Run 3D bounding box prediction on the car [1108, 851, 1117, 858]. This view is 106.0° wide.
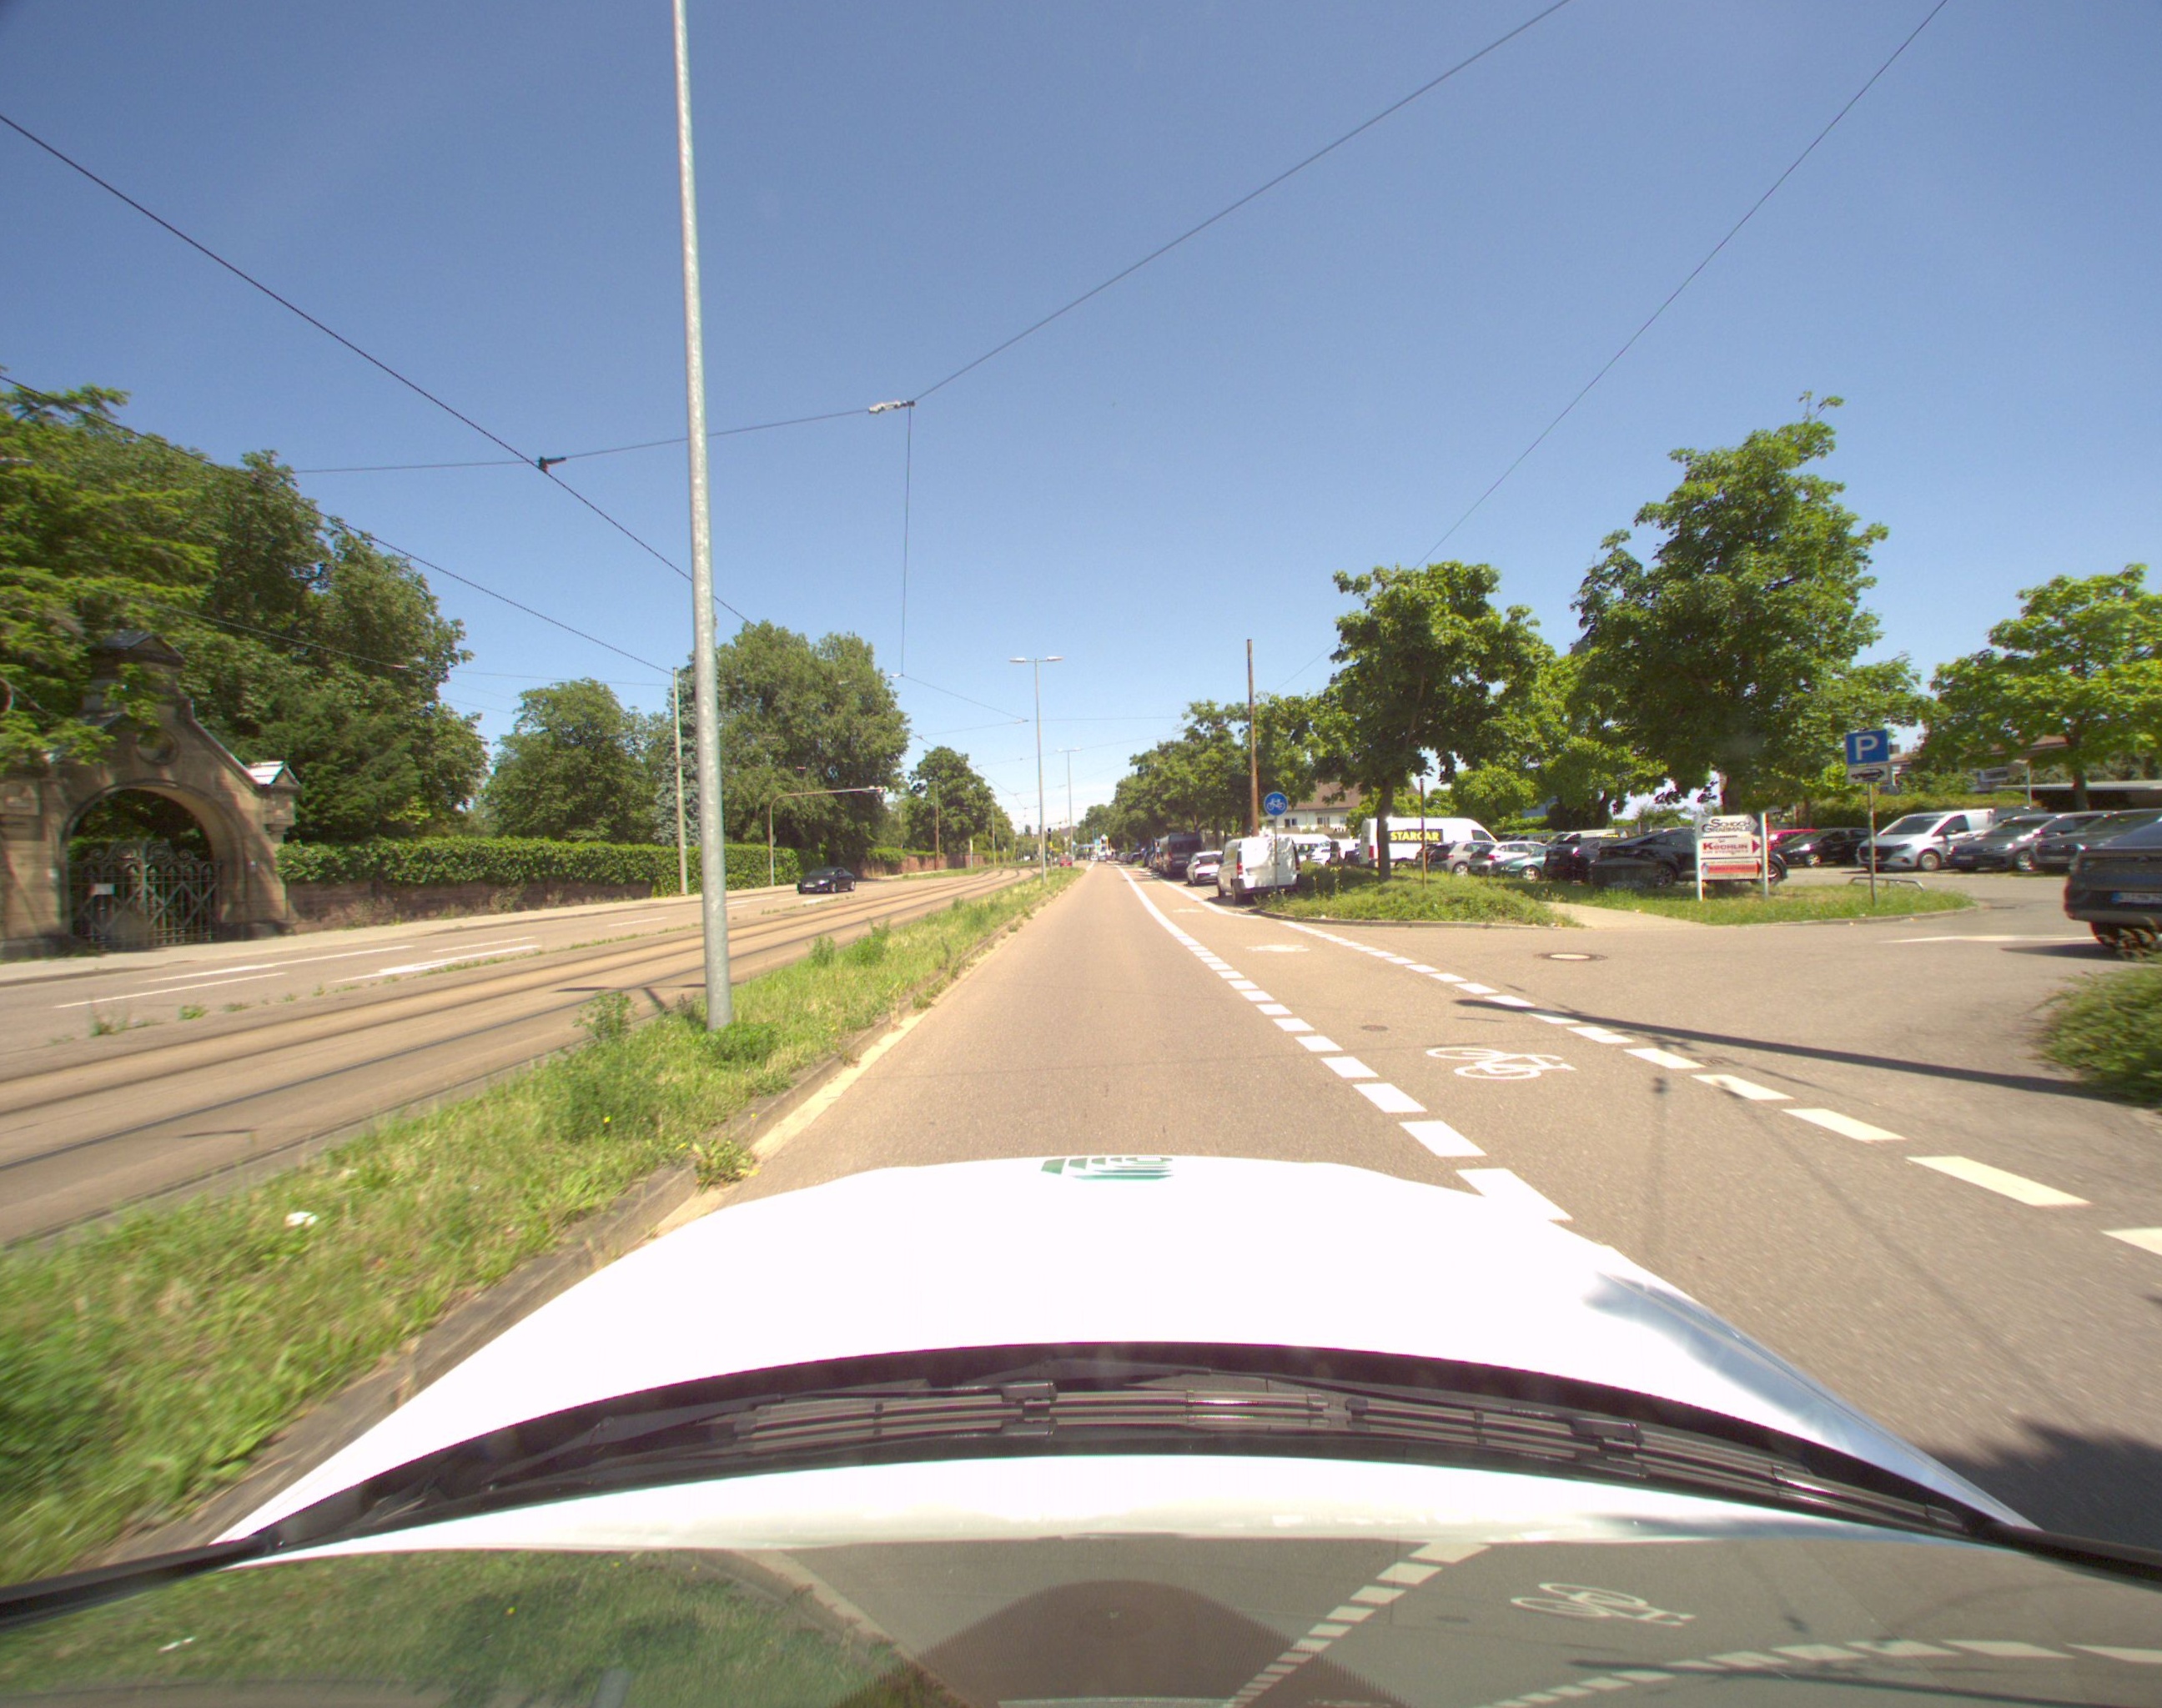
[{"bbox_3d":[8.099,0.158,209.945,1.706,1.562,4.311,-4,0,-8],"label":"car"}]

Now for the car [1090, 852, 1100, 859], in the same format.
[{"bbox_3d":[3.638,0.458,212.775,1.754,1.630,4.314,-4,0,-6],"label":"car"}]

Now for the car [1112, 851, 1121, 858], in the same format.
[{"bbox_3d":[8.739,0.140,198.756,1.703,1.492,5.033,-4,0,-3],"label":"car"}]

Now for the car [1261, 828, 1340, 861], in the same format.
[{"bbox_3d":[16.697,-0.685,62.091,5.469,2.459,2.096,0,0,1],"label":"car"}]

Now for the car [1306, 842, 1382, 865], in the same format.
[{"bbox_3d":[16.438,-0.043,51.008,4.264,1.406,1.727,0,0,-2],"label":"car"}]

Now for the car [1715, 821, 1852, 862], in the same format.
[{"bbox_3d":[29.679,-0.527,34.502,4.294,1.436,1.633,-4,0,1],"label":"car"}]

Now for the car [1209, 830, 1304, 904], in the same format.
[{"bbox_3d":[5.307,0.344,25.299,1.872,1.916,5.127,-4,0,2],"label":"car"}]

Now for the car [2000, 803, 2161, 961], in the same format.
[{"bbox_3d":[13.080,0.216,8.837,4.128,1.610,1.943,-2,0,-2],"label":"car"}]

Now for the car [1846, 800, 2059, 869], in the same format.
[{"bbox_3d":[28.585,-0.633,26.835,4.900,1.900,1.909,-4,0,0],"label":"car"}]

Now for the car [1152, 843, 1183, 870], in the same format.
[{"bbox_3d":[6.536,0.167,61.957,1.989,1.878,5.280,-4,0,3],"label":"car"}]

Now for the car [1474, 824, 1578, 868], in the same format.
[{"bbox_3d":[28.704,-0.481,52.659,5.470,2.459,2.096,-4,0,1],"label":"car"}]

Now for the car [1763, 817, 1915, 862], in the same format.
[{"bbox_3d":[29.541,-0.555,31.817,4.294,1.436,1.633,-4,0,1],"label":"car"}]

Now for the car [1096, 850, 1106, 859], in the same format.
[{"bbox_3d":[4.142,0.052,168.198,1.750,1.630,4.324,-4,0,0],"label":"car"}]

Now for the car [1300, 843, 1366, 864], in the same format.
[{"bbox_3d":[16.627,-0.035,53.865,3.875,1.406,1.727,0,0,-2],"label":"car"}]

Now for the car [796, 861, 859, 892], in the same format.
[{"bbox_3d":[-12.989,1.107,41.980,1.748,1.448,4.126,0,0,3],"label":"car"}]

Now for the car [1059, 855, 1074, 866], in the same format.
[{"bbox_3d":[-2.010,0.957,114.909,1.699,1.414,4.285,-2,0,3],"label":"car"}]

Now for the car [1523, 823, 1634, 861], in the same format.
[{"bbox_3d":[28.973,-0.675,47.559,5.077,1.876,2.096,-4,0,1],"label":"car"}]

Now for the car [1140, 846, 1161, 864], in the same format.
[{"bbox_3d":[7.166,0.112,84.559,1.706,1.632,4.709,-4,-1,1],"label":"car"}]

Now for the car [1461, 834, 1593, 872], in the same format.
[{"bbox_3d":[16.142,-0.025,29.585,3.873,1.325,1.728,0,0,0],"label":"car"}]

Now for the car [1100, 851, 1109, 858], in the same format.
[{"bbox_3d":[6.518,0.196,225.853,1.755,1.630,4.312,-4,0,-8],"label":"car"}]

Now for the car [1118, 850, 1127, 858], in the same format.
[{"bbox_3d":[9.201,0.062,181.893,1.834,1.694,4.780,-4,0,2],"label":"car"}]

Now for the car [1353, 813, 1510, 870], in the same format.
[{"bbox_3d":[16.079,-0.554,37.679,6.313,2.529,2.266,0,0,4],"label":"car"}]

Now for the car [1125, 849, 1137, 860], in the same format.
[{"bbox_3d":[8.211,0.064,133.802,1.833,1.706,4.629,-4,0,2],"label":"car"}]

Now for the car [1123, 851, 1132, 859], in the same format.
[{"bbox_3d":[8.890,0.185,155.719,1.513,1.529,3.817,-4,0,1],"label":"car"}]

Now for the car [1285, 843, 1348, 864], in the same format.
[{"bbox_3d":[16.234,-0.014,56.192,3.878,1.406,1.725,0,0,-4],"label":"car"}]

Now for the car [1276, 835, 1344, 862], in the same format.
[{"bbox_3d":[16.566,-0.411,59.097,4.396,1.909,1.952,0,0,-4],"label":"car"}]

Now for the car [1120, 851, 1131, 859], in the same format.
[{"bbox_3d":[8.769,0.197,160.729,1.836,1.529,4.963,-4,0,-1],"label":"car"}]

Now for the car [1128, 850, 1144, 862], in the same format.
[{"bbox_3d":[7.774,0.272,116.199,1.835,1.436,4.823,-4,0,-1],"label":"car"}]

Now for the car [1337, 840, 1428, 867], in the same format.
[{"bbox_3d":[16.800,-0.033,45.537,4.395,1.505,1.953,0,0,-2],"label":"car"}]

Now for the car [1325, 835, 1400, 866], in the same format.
[{"bbox_3d":[16.582,-0.209,48.133,3.771,1.784,1.952,0,0,-4],"label":"car"}]

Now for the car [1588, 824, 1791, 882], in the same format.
[{"bbox_3d":[16.095,-0.027,21.677,4.185,1.490,1.678,0,0,0],"label":"car"}]

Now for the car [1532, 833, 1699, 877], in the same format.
[{"bbox_3d":[15.877,0.031,24.319,3.873,1.281,1.728,0,0,0],"label":"car"}]

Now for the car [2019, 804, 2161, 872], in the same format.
[{"bbox_3d":[28.098,-0.462,21.787,3.965,1.600,1.669,-4,0,1],"label":"car"}]

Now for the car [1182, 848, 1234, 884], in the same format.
[{"bbox_3d":[5.722,0.512,37.052,1.716,1.428,4.211,-4,0,2],"label":"car"}]

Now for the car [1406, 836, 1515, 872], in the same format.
[{"bbox_3d":[16.163,-0.002,34.779,3.875,1.472,1.727,0,0,-2],"label":"car"}]

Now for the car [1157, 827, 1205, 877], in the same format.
[{"bbox_3d":[5.852,-0.119,48.325,1.991,2.636,6.080,-4,0,1],"label":"car"}]

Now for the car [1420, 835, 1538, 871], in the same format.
[{"bbox_3d":[15.626,-0.045,32.051,3.880,1.380,1.725,0,0,-5],"label":"car"}]

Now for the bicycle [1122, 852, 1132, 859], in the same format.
[{"bbox_3d":[8.695,0.257,153.682,1.765,1.228,0.684,-7,-1,5],"label":"bicycle"}]

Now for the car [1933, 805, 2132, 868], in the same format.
[{"bbox_3d":[28.676,-0.517,24.632,3.965,1.604,1.633,-4,0,1],"label":"car"}]

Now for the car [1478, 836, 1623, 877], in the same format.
[{"bbox_3d":[15.567,0.067,27.158,3.873,1.325,1.728,0,0,0],"label":"car"}]

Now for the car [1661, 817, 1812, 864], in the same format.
[{"bbox_3d":[29.833,-0.589,37.191,5.134,1.752,2.096,-4,0,1],"label":"car"}]
